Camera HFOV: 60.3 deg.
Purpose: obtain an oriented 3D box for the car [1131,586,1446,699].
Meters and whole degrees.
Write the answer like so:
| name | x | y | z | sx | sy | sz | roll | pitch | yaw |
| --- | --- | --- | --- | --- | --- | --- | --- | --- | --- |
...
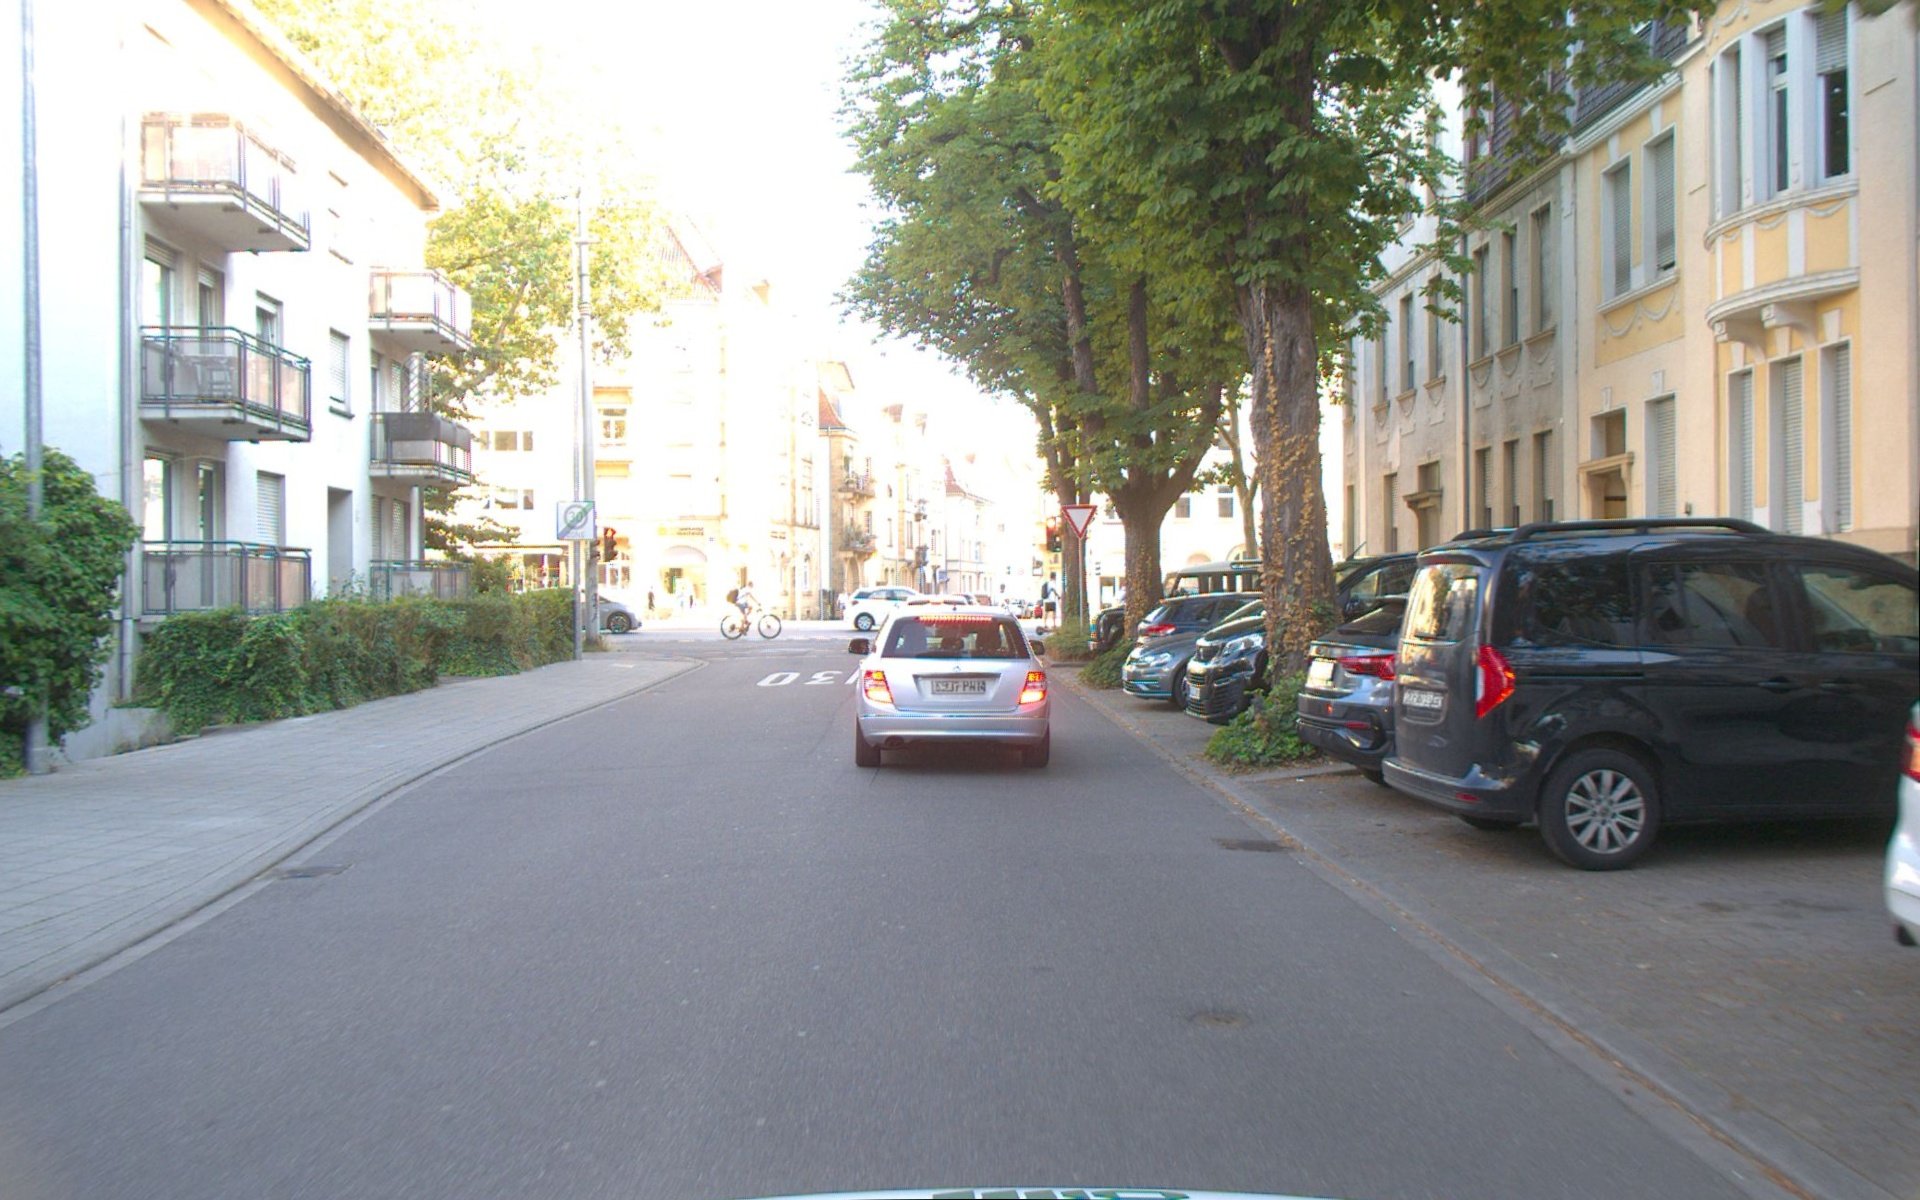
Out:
| name | x | y | z | sx | sy | sz | roll | pitch | yaw |
| --- | --- | --- | --- | --- | --- | --- | --- | --- | --- |
| car | 4.745 | 0.581 | 24.277 | 4.202 | 1.568 | 1.898 | 0 | 0 | -3 |

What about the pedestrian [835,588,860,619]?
| name | x | y | z | sx | sy | sz | roll | pitch | yaw |
| --- | --- | --- | --- | --- | --- | --- | --- | --- | --- |
| pedestrian | -6.323 | 0.197 | 92.941 | 1.195 | 1.752 | 1.504 | 1 | 0 | 2 |

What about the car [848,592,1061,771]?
| name | x | y | z | sx | sy | sz | roll | pitch | yaw |
| --- | --- | --- | --- | --- | --- | --- | --- | --- | --- |
| car | -0.051 | 0.687 | 15.627 | 1.747 | 1.462 | 3.850 | 1 | 0 | 0 |

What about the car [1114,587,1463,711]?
| name | x | y | z | sx | sy | sz | roll | pitch | yaw |
| --- | --- | --- | --- | --- | --- | --- | --- | --- | --- |
| car | 4.282 | 0.608 | 22.009 | 4.203 | 1.442 | 1.876 | -2 | 1 | -3 |

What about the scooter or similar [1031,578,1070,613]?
| name | x | y | z | sx | sy | sz | roll | pitch | yaw |
| --- | --- | --- | --- | --- | --- | --- | --- | --- | --- |
| scooter or similar | 2.849 | -0.142 | 51.992 | 1.152 | 1.070 | 0.409 | -2 | 0 | -5 |

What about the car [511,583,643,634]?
| name | x | y | z | sx | sy | sz | roll | pitch | yaw |
| --- | --- | --- | --- | --- | --- | --- | --- | --- | --- |
| car | -12.683 | 0.265 | 54.990 | 4.076 | 1.655 | 1.790 | 0 | 0 | -8 |

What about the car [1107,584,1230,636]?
| name | x | y | z | sx | sy | sz | roll | pitch | yaw |
| --- | --- | --- | --- | --- | --- | --- | --- | --- | --- |
| car | 6.969 | 0.315 | 55.505 | 3.814 | 1.671 | 1.752 | 0 | 0 | -7 |

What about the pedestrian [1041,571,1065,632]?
| name | x | y | z | sx | sy | sz | roll | pitch | yaw |
| --- | --- | --- | --- | --- | --- | --- | --- | --- | --- |
| pedestrian | 2.928 | 0.038 | 52.000 | 0.630 | 1.898 | 0.409 | -2 | 0 | -5 |

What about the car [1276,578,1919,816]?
| name | x | y | z | sx | sy | sz | roll | pitch | yaw |
| --- | --- | --- | --- | --- | --- | --- | --- | --- | --- |
| car | 4.607 | 0.633 | 12.067 | 4.202 | 1.568 | 1.876 | 0 | 0 | -3 |

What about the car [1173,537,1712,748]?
| name | x | y | z | sx | sy | sz | roll | pitch | yaw |
| --- | --- | --- | --- | --- | --- | --- | --- | --- | --- |
| car | 4.843 | 0.389 | 17.094 | 4.952 | 2.024 | 2.071 | 0 | 0 | -3 |

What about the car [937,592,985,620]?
| name | x | y | z | sx | sy | sz | roll | pitch | yaw |
| --- | --- | --- | --- | --- | --- | --- | --- | --- | --- |
| car | 0.112 | 0.361 | 100.289 | 1.951 | 1.612 | 4.003 | 0 | 1 | 15 |

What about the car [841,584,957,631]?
| name | x | y | z | sx | sy | sz | roll | pitch | yaw |
| --- | --- | --- | --- | --- | --- | --- | --- | --- | --- |
| car | -2.107 | 0.241 | 56.633 | 3.816 | 1.541 | 1.704 | 0 | 0 | -9 |

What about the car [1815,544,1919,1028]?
| name | x | y | z | sx | sy | sz | roll | pitch | yaw |
| --- | --- | --- | --- | --- | --- | --- | --- | --- | --- |
| car | 5.164 | 0.548 | 5.130 | 4.027 | 1.599 | 1.876 | -2 | 0 | -1 |

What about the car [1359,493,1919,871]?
| name | x | y | z | sx | sy | sz | roll | pitch | yaw |
| --- | --- | --- | --- | --- | --- | --- | --- | --- | --- |
| car | 4.706 | 0.401 | 9.831 | 4.135 | 1.929 | 1.904 | -2 | 0 | -3 |

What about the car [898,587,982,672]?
| name | x | y | z | sx | sy | sz | roll | pitch | yaw |
| --- | --- | --- | --- | --- | --- | --- | --- | --- | --- |
| car | -0.382 | 0.542 | 33.308 | 1.590 | 1.597 | 3.680 | 0 | 1 | 0 |

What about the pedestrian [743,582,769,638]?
| name | x | y | z | sx | sy | sz | roll | pitch | yaw |
| --- | --- | --- | --- | --- | --- | --- | --- | --- | --- |
| pedestrian | -6.211 | 0.306 | 50.388 | 0.755 | 1.674 | 0.504 | -1 | 0 | -9 |

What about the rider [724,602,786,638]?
| name | x | y | z | sx | sy | sz | roll | pitch | yaw |
| --- | --- | --- | --- | --- | --- | --- | --- | --- | --- |
| rider | -6.247 | 0.615 | 50.384 | 1.839 | 1.056 | 0.510 | -1 | 0 | -9 |

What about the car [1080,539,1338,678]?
| name | x | y | z | sx | sy | sz | roll | pitch | yaw |
| --- | --- | --- | --- | --- | --- | --- | --- | --- | --- |
| car | 4.435 | 0.127 | 29.879 | 4.301 | 2.405 | 1.999 | 0 | 0 | -3 |
